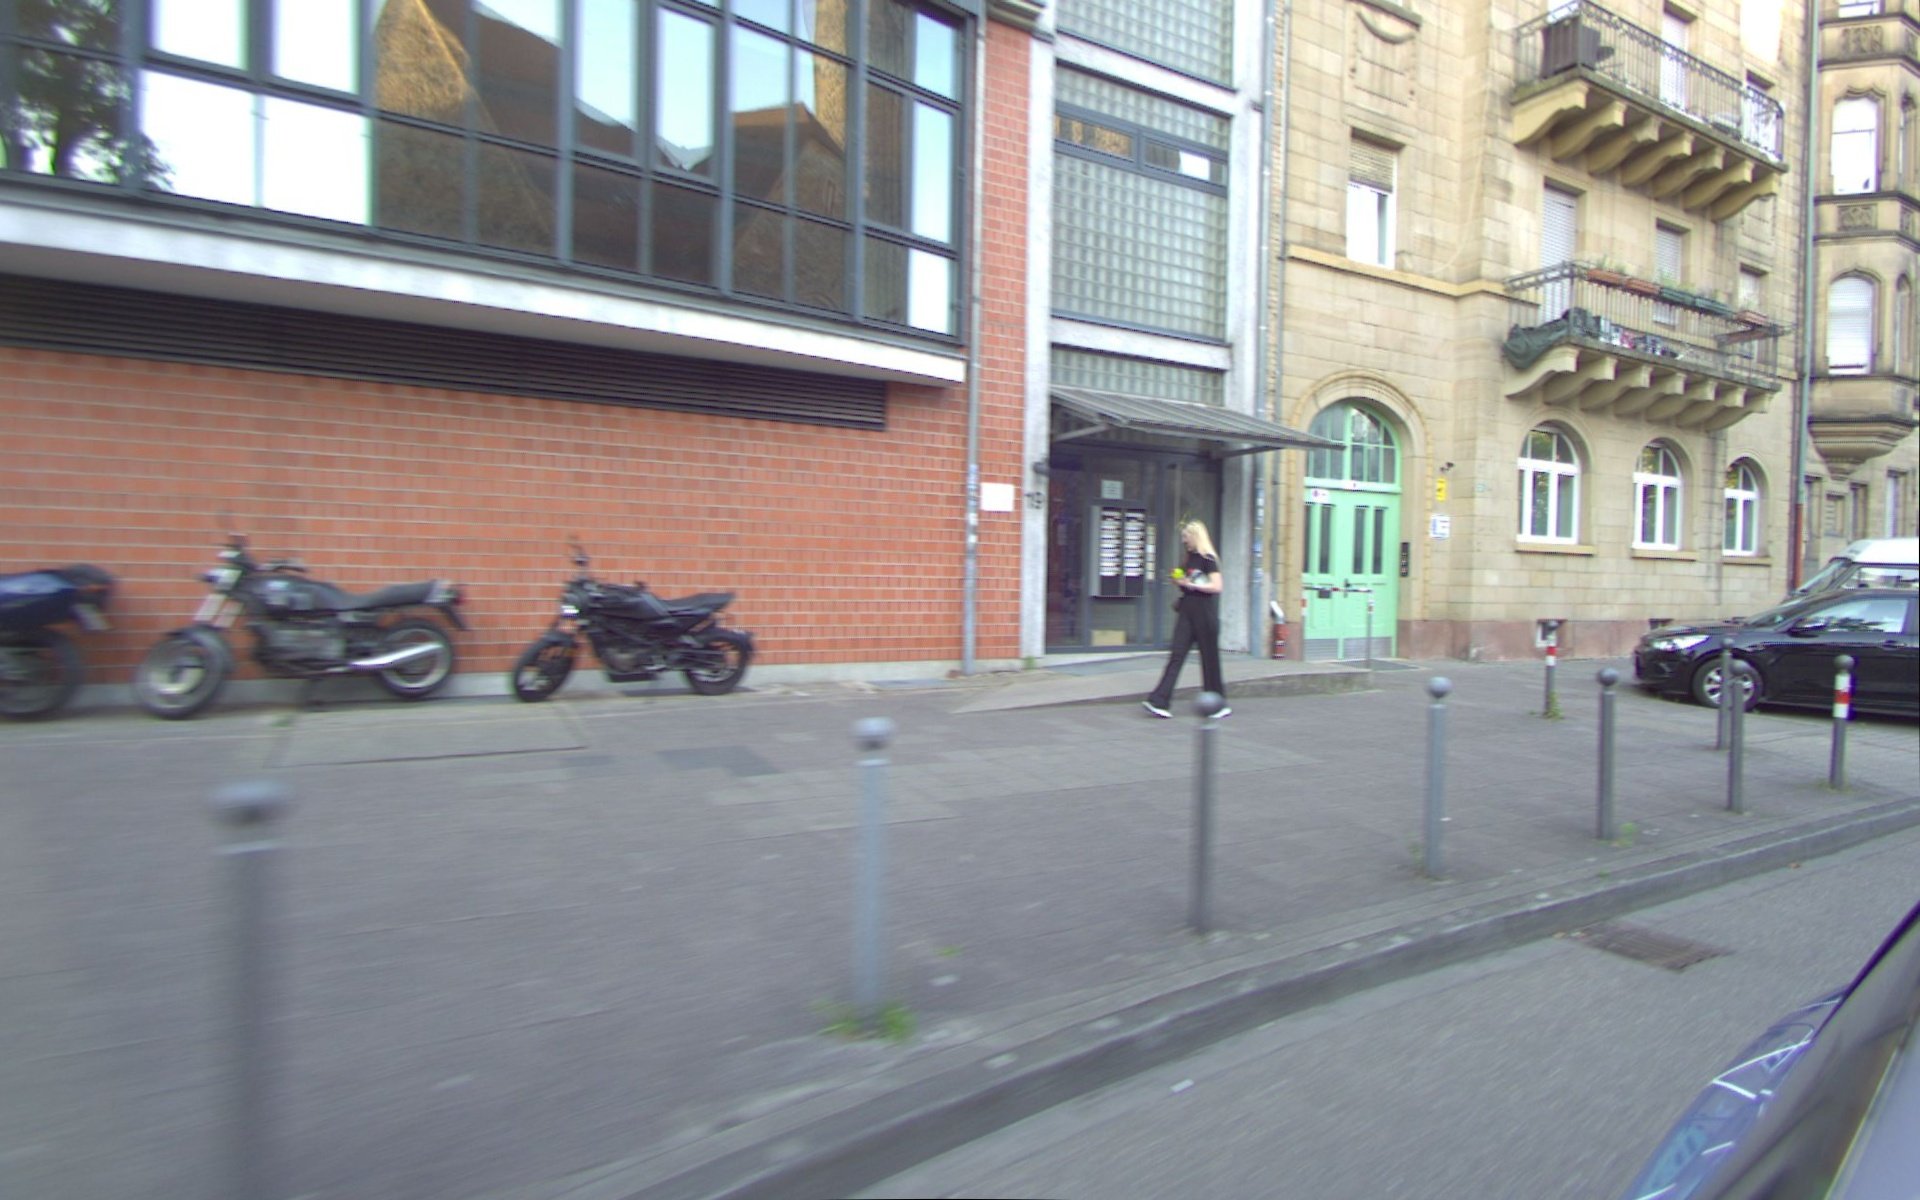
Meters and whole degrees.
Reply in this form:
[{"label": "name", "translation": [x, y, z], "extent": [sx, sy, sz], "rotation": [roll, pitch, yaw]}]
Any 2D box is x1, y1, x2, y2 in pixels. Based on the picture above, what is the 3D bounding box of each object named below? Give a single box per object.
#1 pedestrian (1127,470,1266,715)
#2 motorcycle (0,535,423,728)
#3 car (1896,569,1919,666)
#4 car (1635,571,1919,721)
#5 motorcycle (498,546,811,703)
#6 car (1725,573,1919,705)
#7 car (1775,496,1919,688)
[{"label": "pedestrian", "translation": [2.067, -0.085, 8.902], "extent": [0.840, 2.036, 0.611], "rotation": [0, 7, -28]}, {"label": "motorcycle", "translation": [-5.199, 0.156, 7.138], "extent": [2.375, 1.153, 0.776], "rotation": [-1, 4, -43]}, {"label": "car", "translation": [16.977, 0.417, 14.846], "extent": [4.365, 1.504, 1.824], "rotation": [5, 4, 31]}, {"label": "car", "translation": [10.061, 0.466, 11.305], "extent": [4.036, 1.510, 1.706], "rotation": [2, 2, 31]}, {"label": "motorcycle", "translation": [-2.539, 0.170, 8.521], "extent": [2.391, 1.153, 0.804], "rotation": [0, 4, -30]}, {"label": "car", "translation": [12.215, 0.472, 12.423], "extent": [4.326, 1.521, 1.891], "rotation": [2, 2, 34]}, {"label": "car", "translation": [14.294, -0.101, 13.781], "extent": [4.690, 2.578, 1.897], "rotation": [2, 2, 32]}]
